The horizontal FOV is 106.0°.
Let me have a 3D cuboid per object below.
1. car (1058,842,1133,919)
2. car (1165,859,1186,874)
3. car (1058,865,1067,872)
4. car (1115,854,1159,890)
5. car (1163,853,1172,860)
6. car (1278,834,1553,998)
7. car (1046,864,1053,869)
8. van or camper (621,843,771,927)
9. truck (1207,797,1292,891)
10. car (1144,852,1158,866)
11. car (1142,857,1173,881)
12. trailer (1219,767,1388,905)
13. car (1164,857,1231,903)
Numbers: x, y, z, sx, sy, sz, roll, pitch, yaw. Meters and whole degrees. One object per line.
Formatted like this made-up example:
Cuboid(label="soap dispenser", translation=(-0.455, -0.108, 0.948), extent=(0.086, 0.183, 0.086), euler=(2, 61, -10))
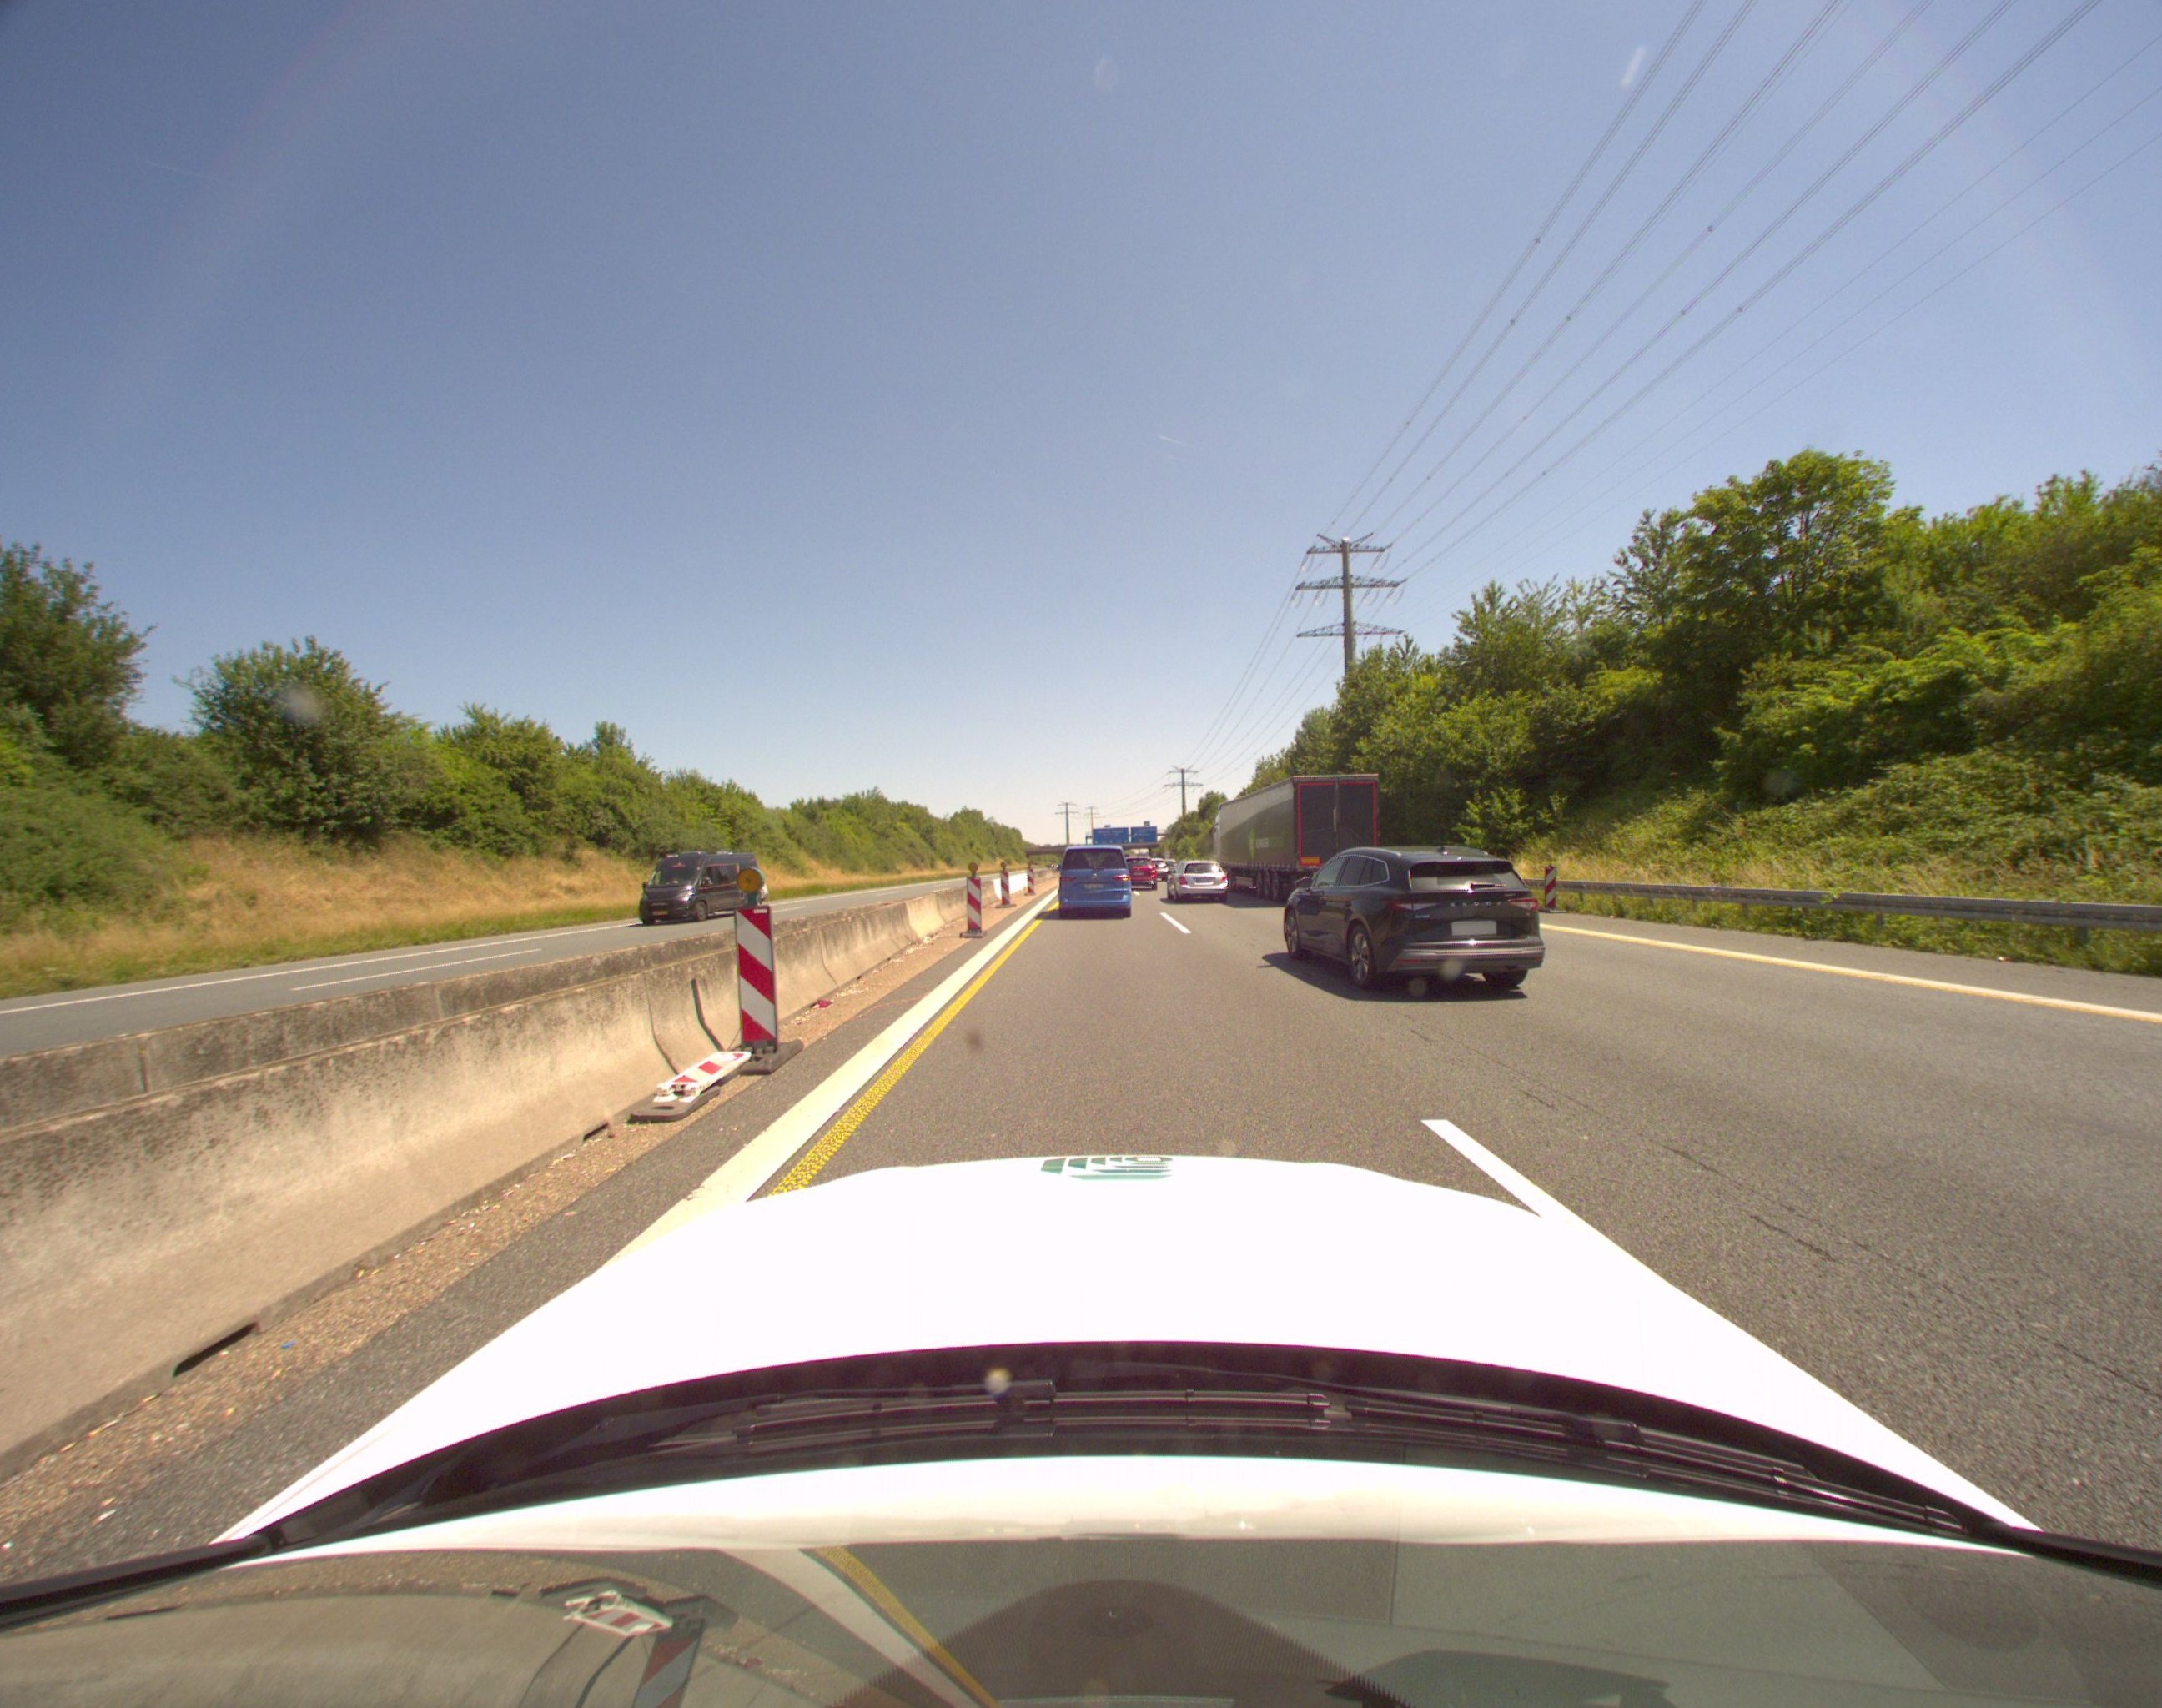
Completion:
Cuboid(label="car", translation=(0.367, 0.682, 22.431), extent=(1.868, 1.912, 4.359), euler=(0, -1, 0))
Cuboid(label="car", translation=(9.078, 1.221, 78.459), extent=(1.695, 1.448, 3.788), euler=(0, -1, 1))
Cuboid(label="car", translation=(-4.005, 3.149, 176.650), extent=(1.856, 1.490, 4.494), euler=(-3, 0, 1))
Cuboid(label="car", translation=(2.696, 0.869, 40.299), extent=(1.868, 1.671, 4.359), euler=(0, -1, 0))
Cuboid(label="car", translation=(20.806, 0.574, 196.132), extent=(1.868, 1.671, 4.359), euler=(0, -1, 0))
Cuboid(label="car", translation=(3.920, 0.649, 10.445), extent=(1.695, 1.655, 4.428), euler=(0, -1, 0))
Cuboid(label="car", translation=(-9.176, 3.638, 238.110), extent=(1.703, 1.464, 3.848), euler=(-3, -1, 0))
Cuboid(label="van or camper", translation=(-14.394, 1.082, 31.142), extent=(2.215, 2.711, 7.078), euler=(-4, -1, 0))
Cuboid(label="truck", translation=(7.679, -0.392, 37.805), extent=(2.724, 4.047, 5.791), euler=(0, -1, 0))
Cuboid(label="car", translation=(10.616, 0.778, 122.921), extent=(1.791, 2.014, 4.227), euler=(0, -1, 0))
Cuboid(label="car", translation=(5.149, 0.986, 55.081), extent=(1.791, 1.594, 4.227), euler=(0, -1, 1))
Cuboid(label="trailer", translation=(7.663, -0.469, 30.511), extent=(2.774, 4.047, 13.109), euler=(0, -1, 0))
Cuboid(label="car", translation=(4.022, 0.876, 28.767), extent=(1.765, 1.517, 4.359), euler=(0, -1, 0))
